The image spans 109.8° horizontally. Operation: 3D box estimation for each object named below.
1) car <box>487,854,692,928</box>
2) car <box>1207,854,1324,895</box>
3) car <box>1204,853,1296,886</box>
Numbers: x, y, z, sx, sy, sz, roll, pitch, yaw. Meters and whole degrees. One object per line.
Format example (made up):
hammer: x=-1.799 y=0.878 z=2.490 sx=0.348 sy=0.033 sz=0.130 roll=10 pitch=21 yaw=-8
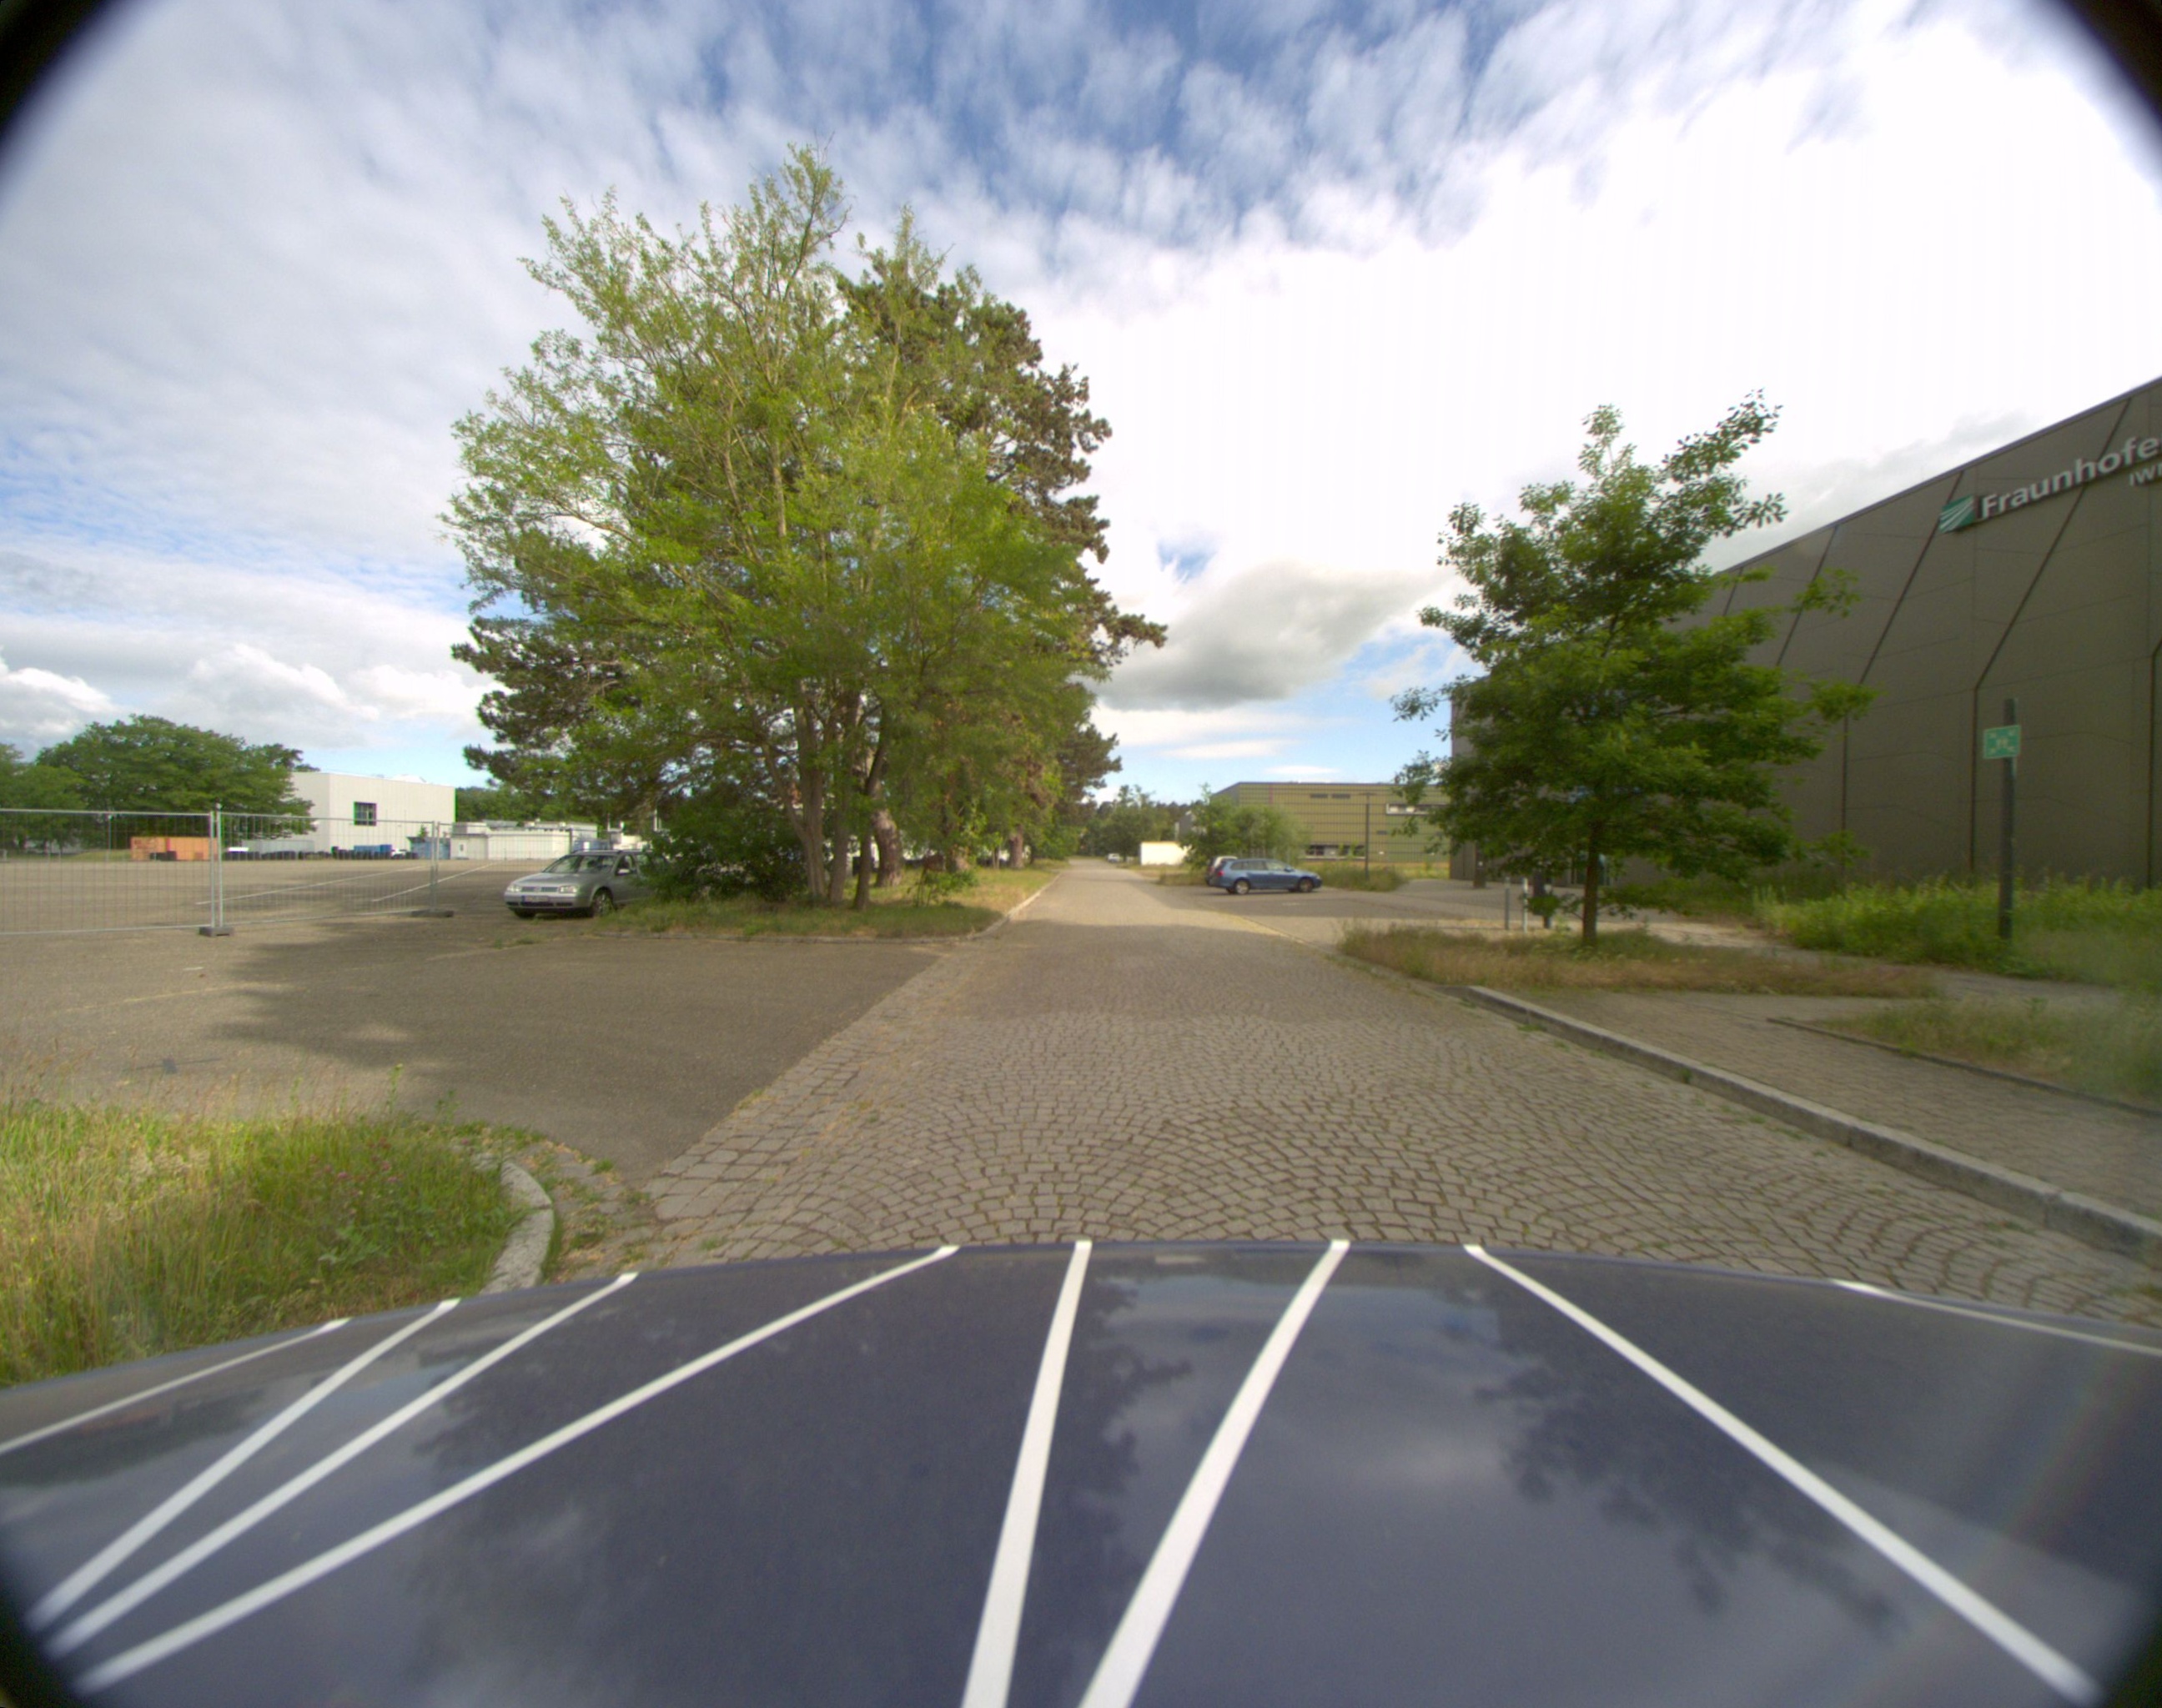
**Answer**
car: x=-10.870 y=0.733 z=17.250 sx=1.759 sy=1.440 sz=4.327 roll=1 pitch=0 yaw=1
car: x=7.640 y=0.839 z=31.674 sx=4.404 sy=1.501 sz=1.716 roll=-2 pitch=1 yaw=-2
car: x=8.630 y=0.783 z=39.094 sx=4.401 sy=1.537 sz=1.842 roll=-2 pitch=0 yaw=7
